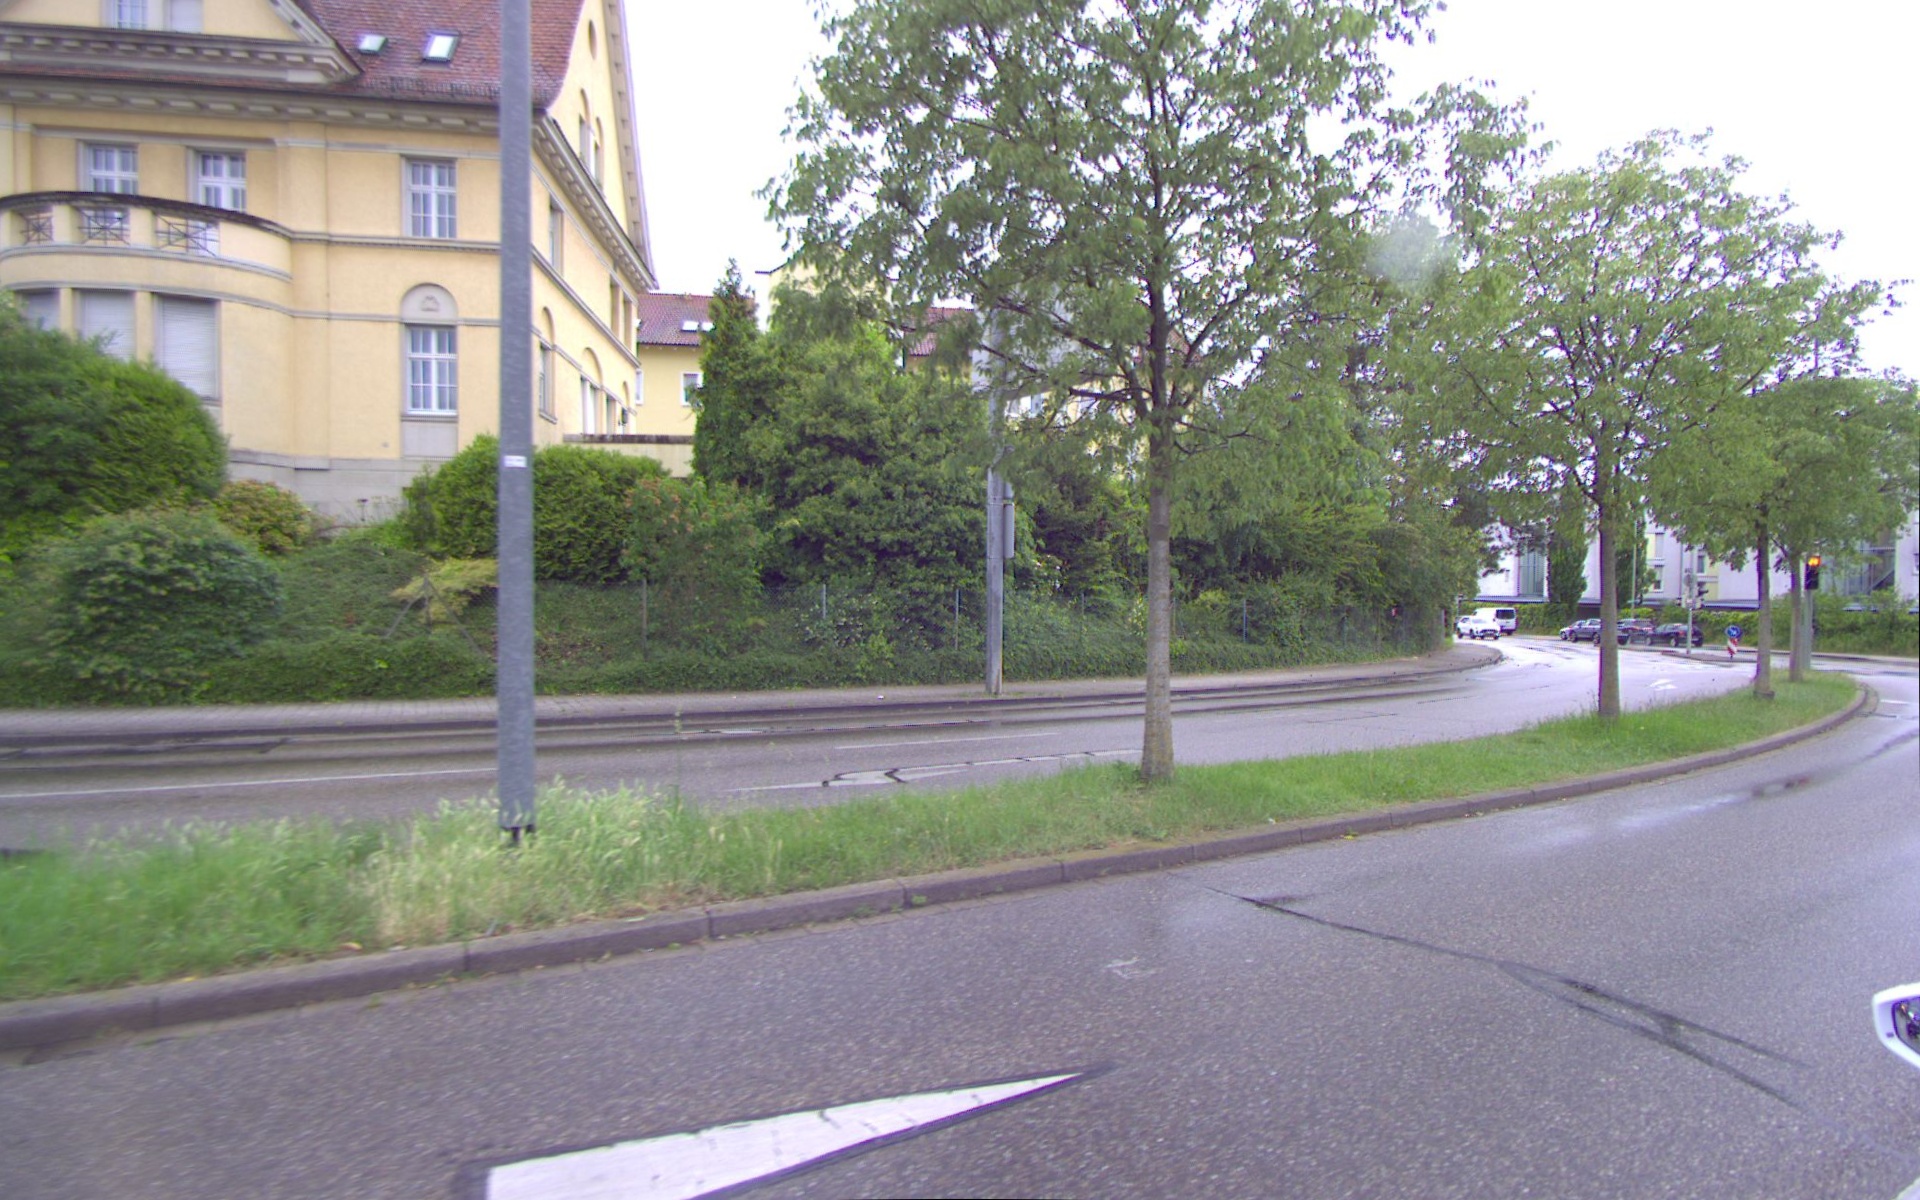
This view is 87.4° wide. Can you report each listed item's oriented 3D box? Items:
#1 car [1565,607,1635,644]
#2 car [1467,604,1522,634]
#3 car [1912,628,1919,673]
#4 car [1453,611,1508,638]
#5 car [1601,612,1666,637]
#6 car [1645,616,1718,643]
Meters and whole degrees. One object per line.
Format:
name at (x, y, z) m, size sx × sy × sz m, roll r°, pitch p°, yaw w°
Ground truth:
car at (41.311, 1.592, 64.974) m, size 1.941 × 2.041 × 3.999 m, roll 1°, pitch 4°, yaw 1°
car at (46.845, 1.696, 88.160) m, size 2.548 × 2.445 × 5.260 m, roll 1°, pitch -2°, yaw 7°
car at (40.544, 2.167, 39.503) m, size 1.967 × 1.782 × 3.985 m, roll 0°, pitch 4°, yaw -16°
car at (37.194, 1.734, 71.869) m, size 1.960 × 1.662 × 4.001 m, roll 1°, pitch 1°, yaw 4°
car at (45.427, 1.601, 67.873) m, size 1.960 × 1.576 × 4.002 m, roll 0°, pitch 0°, yaw 5°
car at (45.235, 1.814, 63.089) m, size 1.960 × 1.576 × 4.002 m, roll 0°, pitch 0°, yaw 5°
